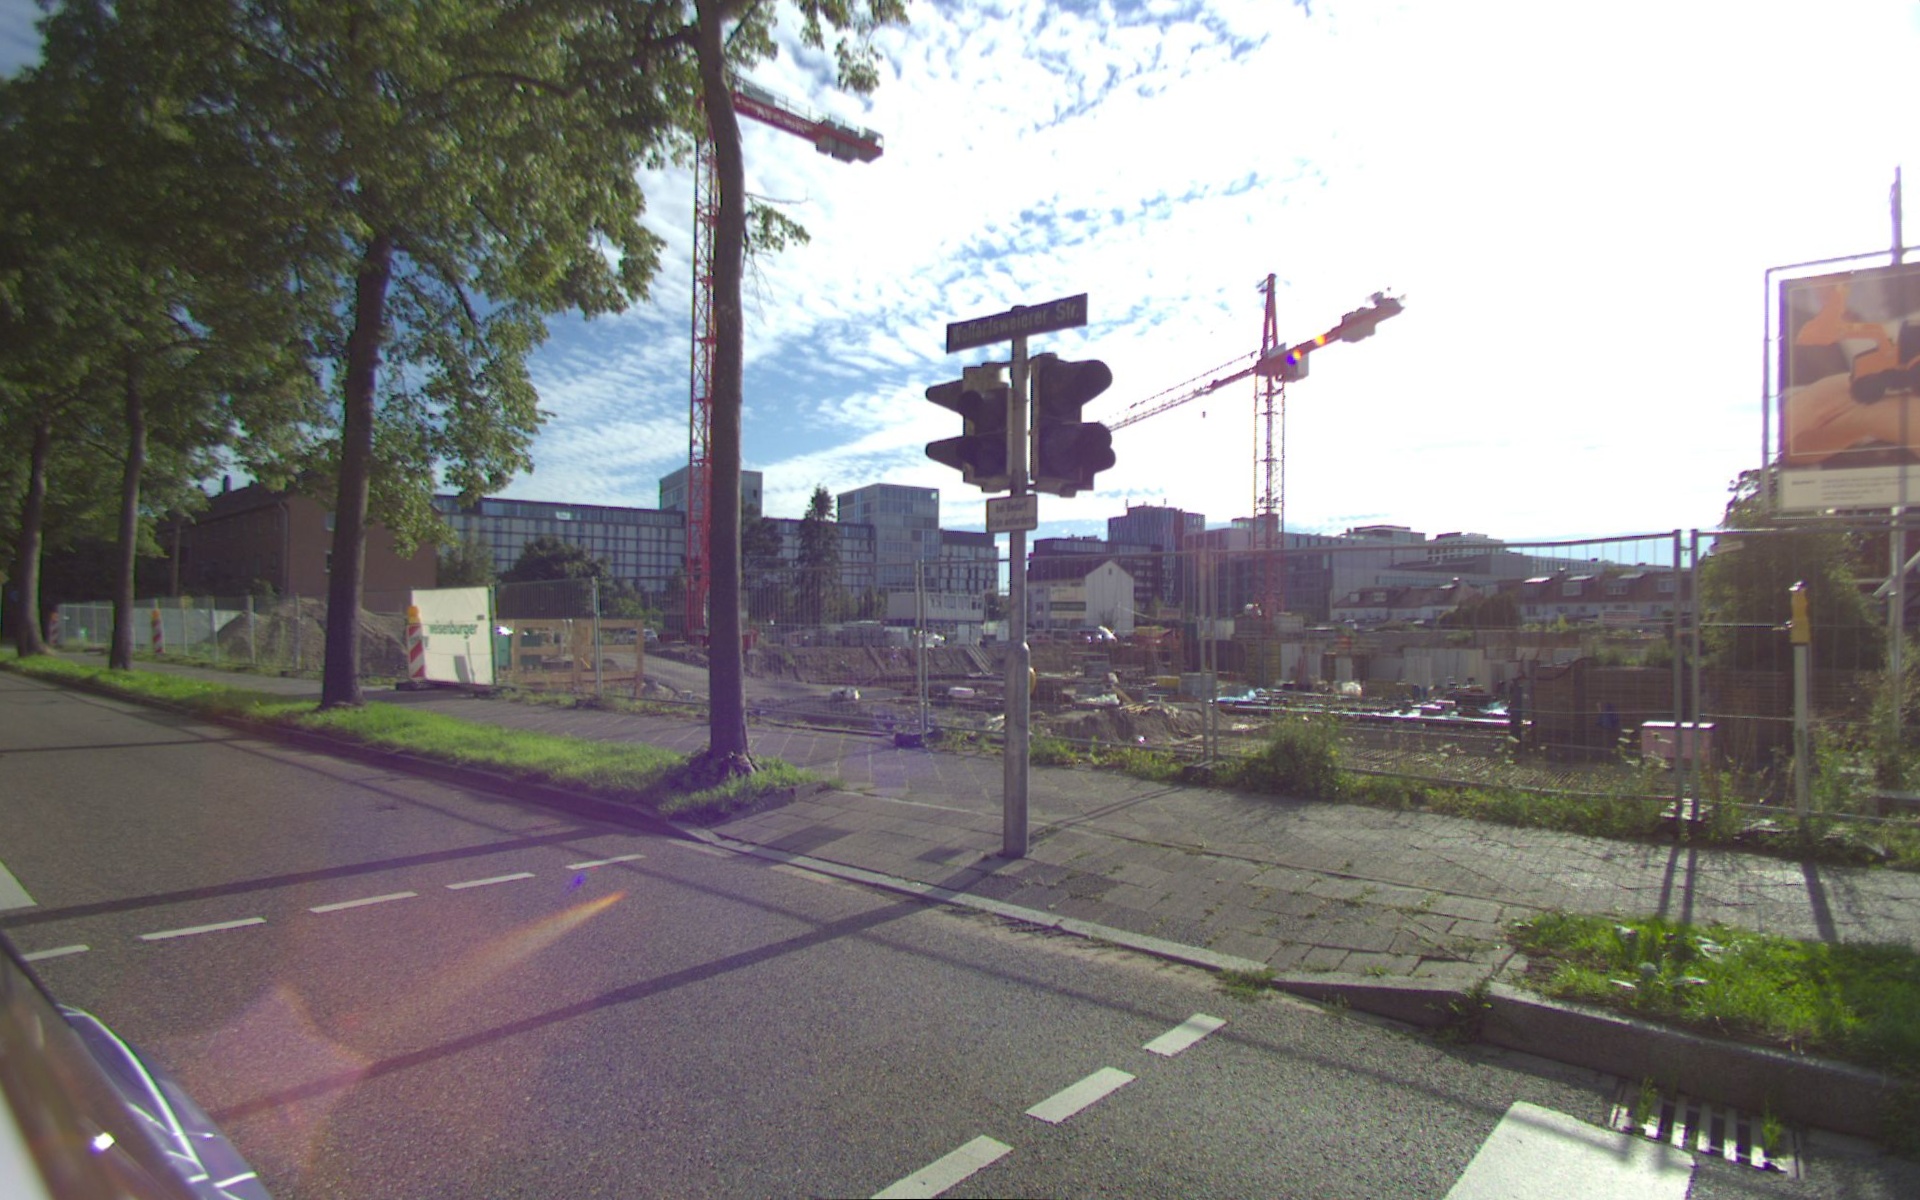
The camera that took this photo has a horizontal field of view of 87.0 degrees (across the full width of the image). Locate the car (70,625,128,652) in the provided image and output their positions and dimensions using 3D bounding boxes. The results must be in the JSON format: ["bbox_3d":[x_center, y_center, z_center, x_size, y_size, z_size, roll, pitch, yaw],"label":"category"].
[{"bbox_3d":[-50.428,2.242,59.232,4.507,1.439,1.972,0,-2,42],"label":"car"}]

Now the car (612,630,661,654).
[{"bbox_3d":[-26.909,3.437,84.075,3.976,1.821,1.797,1,0,35],"label":"car"}]
